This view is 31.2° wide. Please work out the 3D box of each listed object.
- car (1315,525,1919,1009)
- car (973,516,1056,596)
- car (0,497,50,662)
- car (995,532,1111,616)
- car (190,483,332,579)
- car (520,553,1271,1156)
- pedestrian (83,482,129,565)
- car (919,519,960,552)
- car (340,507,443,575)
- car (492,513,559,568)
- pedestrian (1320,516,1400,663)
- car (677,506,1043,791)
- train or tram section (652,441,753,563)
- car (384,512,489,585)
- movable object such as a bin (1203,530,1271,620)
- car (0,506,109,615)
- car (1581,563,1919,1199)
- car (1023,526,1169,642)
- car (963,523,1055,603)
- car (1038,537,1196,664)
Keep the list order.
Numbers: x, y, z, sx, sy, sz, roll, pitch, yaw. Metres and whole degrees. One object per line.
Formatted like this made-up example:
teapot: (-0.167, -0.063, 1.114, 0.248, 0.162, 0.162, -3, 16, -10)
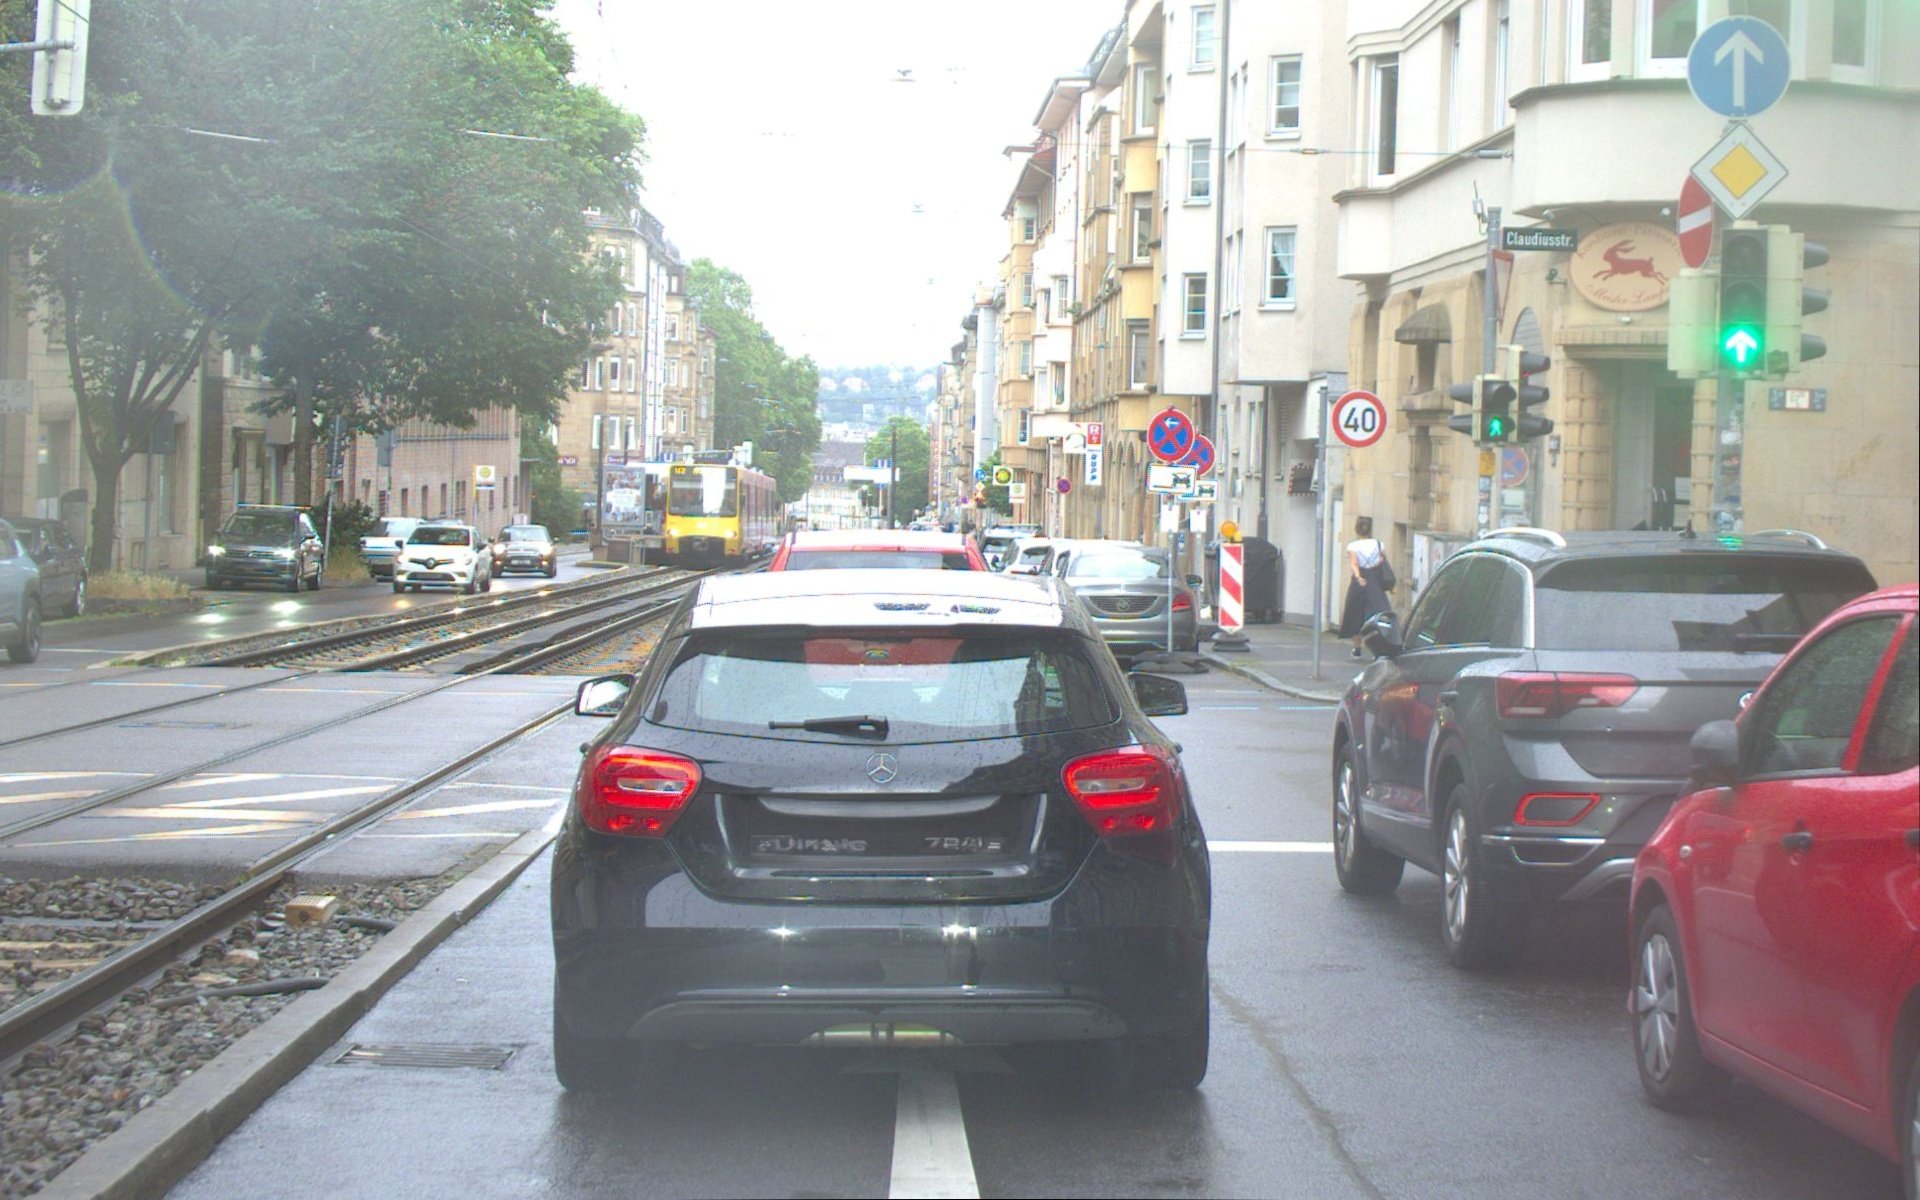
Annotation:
car: (2.565, 0.521, 13.298, 1.867, 1.543, 3.991, 2, 1, -1)
car: (1.208, -0.991, 78.206, 1.778, 1.744, 4.549, 1, 1, 0)
car: (-10.337, -0.211, 33.627, 1.921, 1.612, 4.129, 1, 1, -2)
car: (1.580, -0.452, 59.560, 1.789, 1.381, 4.395, 1, 1, -1)
car: (-14.067, -1.410, 69.418, 1.953, 1.736, 4.780, 4, 1, -2)
car: (-0.183, 0.608, 10.482, 1.834, 1.448, 3.902, 1, 1, -1)
pedestrian: (-17.283, -1.550, 69.593, 0.728, 1.657, 0.771, 2, 1, -1)
car: (-1.027, -3.202, 171.039, 1.887, 1.520, 4.245, 2, 1, 1)
car: (-14.305, -1.515, 86.713, 1.961, 1.600, 4.329, 2, 1, -2)
car: (-11.731, -1.607, 92.920, 1.653, 1.457, 3.735, 0, 1, -5)
pedestrian: (4.641, -0.126, 39.926, 0.804, 1.681, 0.754, 1, 0, -1)
car: (-0.586, 0.235, 21.316, 1.993, 1.520, 4.246, 2, 1, -1)
train or tram section: (-9.130, -3.476, 123.559, 2.745, 4.048, 17.216, 1, 1, -2)
car: (-11.201, -1.092, 73.737, 1.780, 1.497, 4.063, 1, 1, -2)
movable object such as a bin: (4.613, -0.421, 57.364, 0.980, 1.463, 1.273, 1, 0, -1)
car: (-13.482, -0.566, 48.748, 1.780, 1.455, 4.979, 1, 1, -2)
car: (2.735, 0.680, 8.028, 1.705, 1.448, 3.533, 2, 1, -3)
car: (1.788, -0.222, 46.502, 1.712, 1.463, 4.774, 1, 1, -1)
car: (1.038, -0.777, 72.071, 1.841, 1.602, 4.760, 1, 1, 1)
car: (1.825, -0.014, 41.136, 1.711, 1.405, 4.817, 1, 1, 1)
